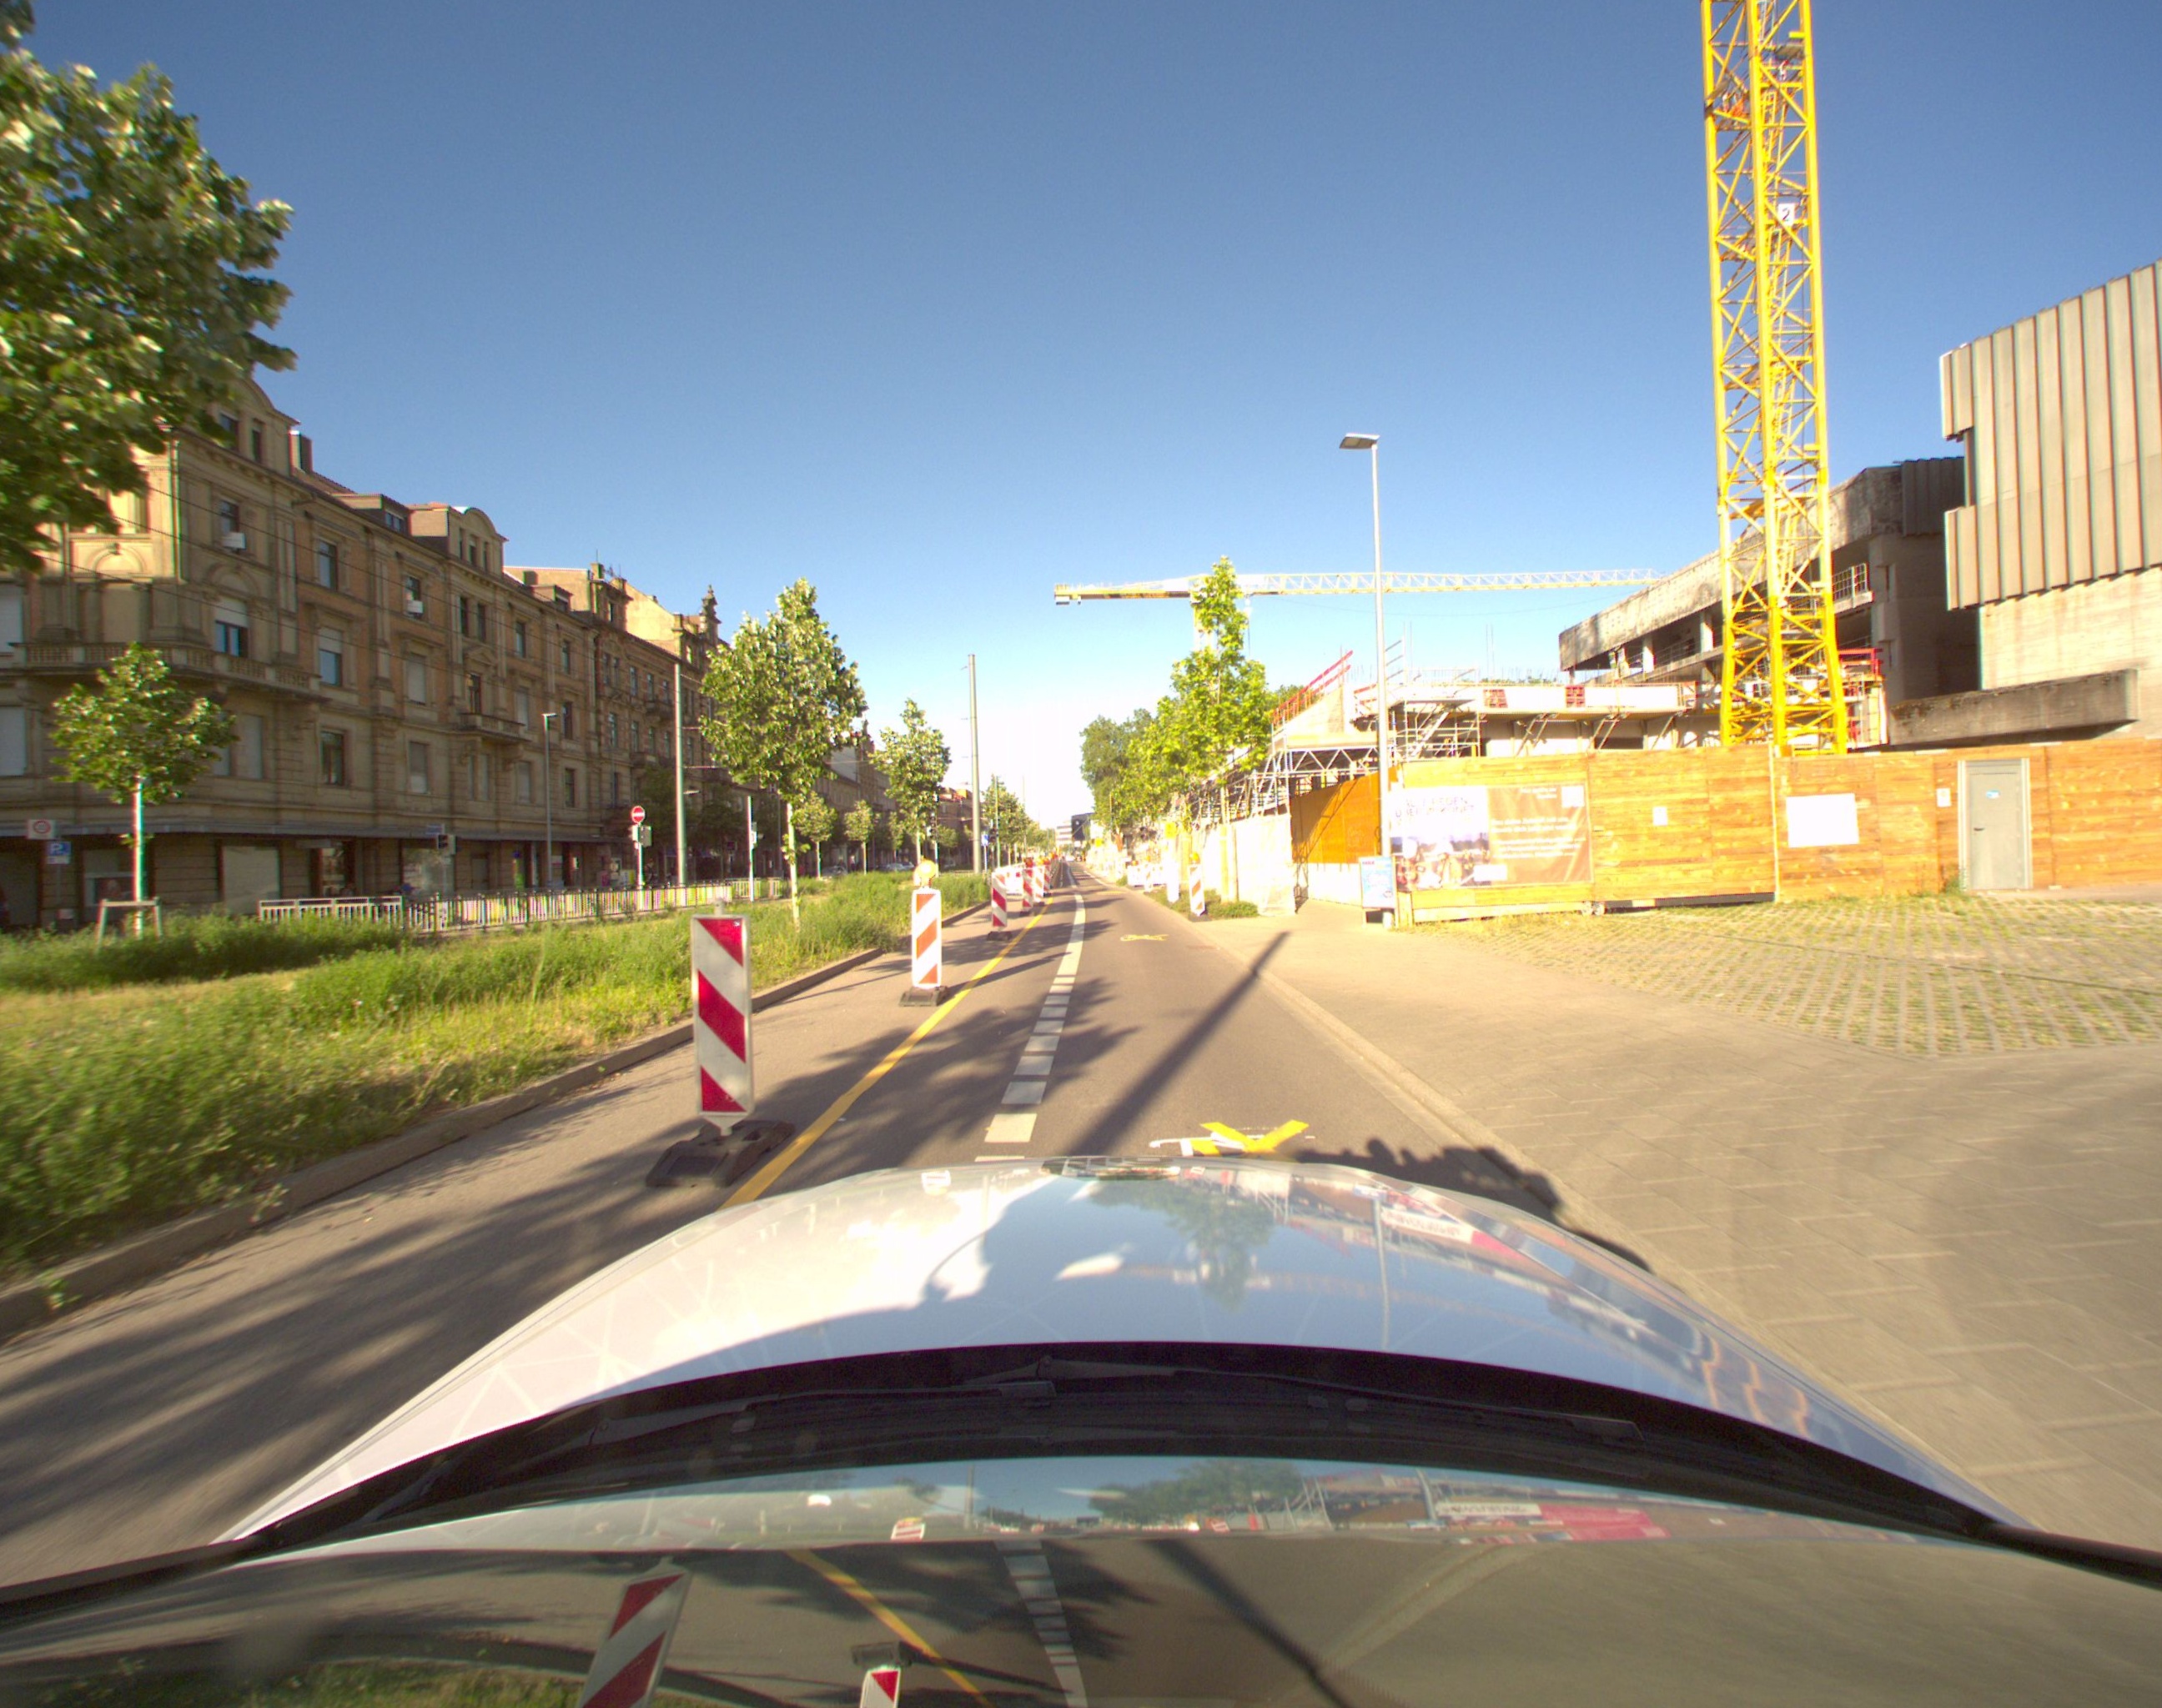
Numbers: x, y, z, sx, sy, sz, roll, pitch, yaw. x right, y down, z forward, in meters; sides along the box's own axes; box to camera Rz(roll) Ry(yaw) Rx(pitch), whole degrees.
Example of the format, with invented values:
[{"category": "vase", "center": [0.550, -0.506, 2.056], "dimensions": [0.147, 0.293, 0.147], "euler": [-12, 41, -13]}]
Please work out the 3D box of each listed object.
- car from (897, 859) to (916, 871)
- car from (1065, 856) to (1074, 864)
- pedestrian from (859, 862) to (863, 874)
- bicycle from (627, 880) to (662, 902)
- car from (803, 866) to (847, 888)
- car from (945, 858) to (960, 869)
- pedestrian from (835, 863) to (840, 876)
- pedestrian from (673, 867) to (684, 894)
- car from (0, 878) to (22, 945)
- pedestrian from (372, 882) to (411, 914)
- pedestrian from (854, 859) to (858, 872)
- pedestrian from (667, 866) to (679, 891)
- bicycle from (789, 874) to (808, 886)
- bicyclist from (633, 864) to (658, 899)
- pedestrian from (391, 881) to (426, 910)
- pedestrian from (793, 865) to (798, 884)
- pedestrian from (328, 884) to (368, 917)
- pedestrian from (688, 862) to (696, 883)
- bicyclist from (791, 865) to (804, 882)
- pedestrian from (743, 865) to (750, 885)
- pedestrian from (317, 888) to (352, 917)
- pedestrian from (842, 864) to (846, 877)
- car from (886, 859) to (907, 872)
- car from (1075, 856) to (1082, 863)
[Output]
[{"category": "car", "center": [-23.363, 1.442, 109.221], "dimensions": [1.562, 1.562, 4.711], "euler": [-2, 0, -2]}, {"category": "car", "center": [-2.762, 1.407, 194.365], "dimensions": [1.878, 1.842, 3.666], "euler": [-2, 0, -1]}, {"category": "pedestrian", "center": [-29.261, 1.885, 108.231], "dimensions": [0.460, 1.585, 0.434], "euler": [1, -1, -8]}, {"category": "bicycle", "center": [-21.307, 1.776, 39.785], "dimensions": [0.693, 0.978, 1.827], "euler": [-1, 0, 0]}, {"category": "car", "center": [-18.414, 1.634, 58.753], "dimensions": [1.847, 1.420, 4.069], "euler": [0, 0, 0]}, {"category": "car", "center": [-19.100, 1.392, 121.108], "dimensions": [1.589, 1.483, 3.623], "euler": [-2, 0, 0]}, {"category": "pedestrian", "center": [-28.953, 1.834, 96.912], "dimensions": [0.432, 1.585, 0.385], "euler": [0, -1, -4]}, {"category": "pedestrian", "center": [-26.968, 1.768, 54.560], "dimensions": [0.506, 1.765, 0.406], "euler": [0, -1, -1]}, {"category": "car", "center": [-33.103, 1.718, 22.602], "dimensions": [4.503, 1.903, 1.894], "euler": [-2, 0, -6]}, {"category": "pedestrian", "center": [-28.264, 1.795, 33.388], "dimensions": [0.788, 1.208, 0.929], "euler": [-1, -1, 0]}, {"category": "pedestrian", "center": [-27.723, 1.434, 100.341], "dimensions": [0.404, 1.532, 0.435], "euler": [0, -1, -1]}, {"category": "pedestrian", "center": [-26.224, 1.563, 52.293], "dimensions": [0.485, 1.585, 0.533], "euler": [0, -1, -1]}, {"category": "bicycle", "center": [-21.165, 1.958, 61.050], "dimensions": [0.635, 0.857, 2.031], "euler": [-2, 0, 0]}, {"category": "bicyclist", "center": [-21.322, 1.332, 39.906], "dimensions": [0.693, 1.657, 0.882], "euler": [-1, -1, 0]}, {"category": "pedestrian", "center": [-28.581, 1.757, 34.602], "dimensions": [0.688, 1.208, 0.929], "euler": [-1, -1, 0]}, {"category": "pedestrian", "center": [-27.277, 1.965, 77.797], "dimensions": [0.366, 1.765, 0.406], "euler": [0, -1, -1]}, {"category": "pedestrian", "center": [-28.449, 1.801, 31.636], "dimensions": [0.688, 1.246, 0.929], "euler": [-1, -1, 0]}, {"category": "pedestrian", "center": [-29.954, 1.398, 62.716], "dimensions": [0.381, 1.585, 0.393], "euler": [0, -1, 29]}, {"category": "bicyclist", "center": [-21.180, 1.469, 60.883], "dimensions": [0.635, 1.239, 0.738], "euler": [-2, 0, 0]}, {"category": "pedestrian", "center": [-27.437, 1.726, 66.843], "dimensions": [0.402, 1.585, 0.425], "euler": [0, -1, -1]}, {"category": "pedestrian", "center": [-29.410, 1.908, 32.094], "dimensions": [0.688, 1.059, 0.736], "euler": [-1, -1, 0]}, {"category": "pedestrian", "center": [-28.208, 1.935, 96.995], "dimensions": [0.427, 1.585, 0.339], "euler": [0, -1, 0]}, {"category": "car", "center": [-23.249, 1.443, 102.595], "dimensions": [1.562, 1.562, 4.712], "euler": [-2, 0, -1]}, {"category": "car", "center": [-0.711, 1.515, 231.294], "dimensions": [1.878, 1.842, 3.666], "euler": [-2, 0, -1]}]
